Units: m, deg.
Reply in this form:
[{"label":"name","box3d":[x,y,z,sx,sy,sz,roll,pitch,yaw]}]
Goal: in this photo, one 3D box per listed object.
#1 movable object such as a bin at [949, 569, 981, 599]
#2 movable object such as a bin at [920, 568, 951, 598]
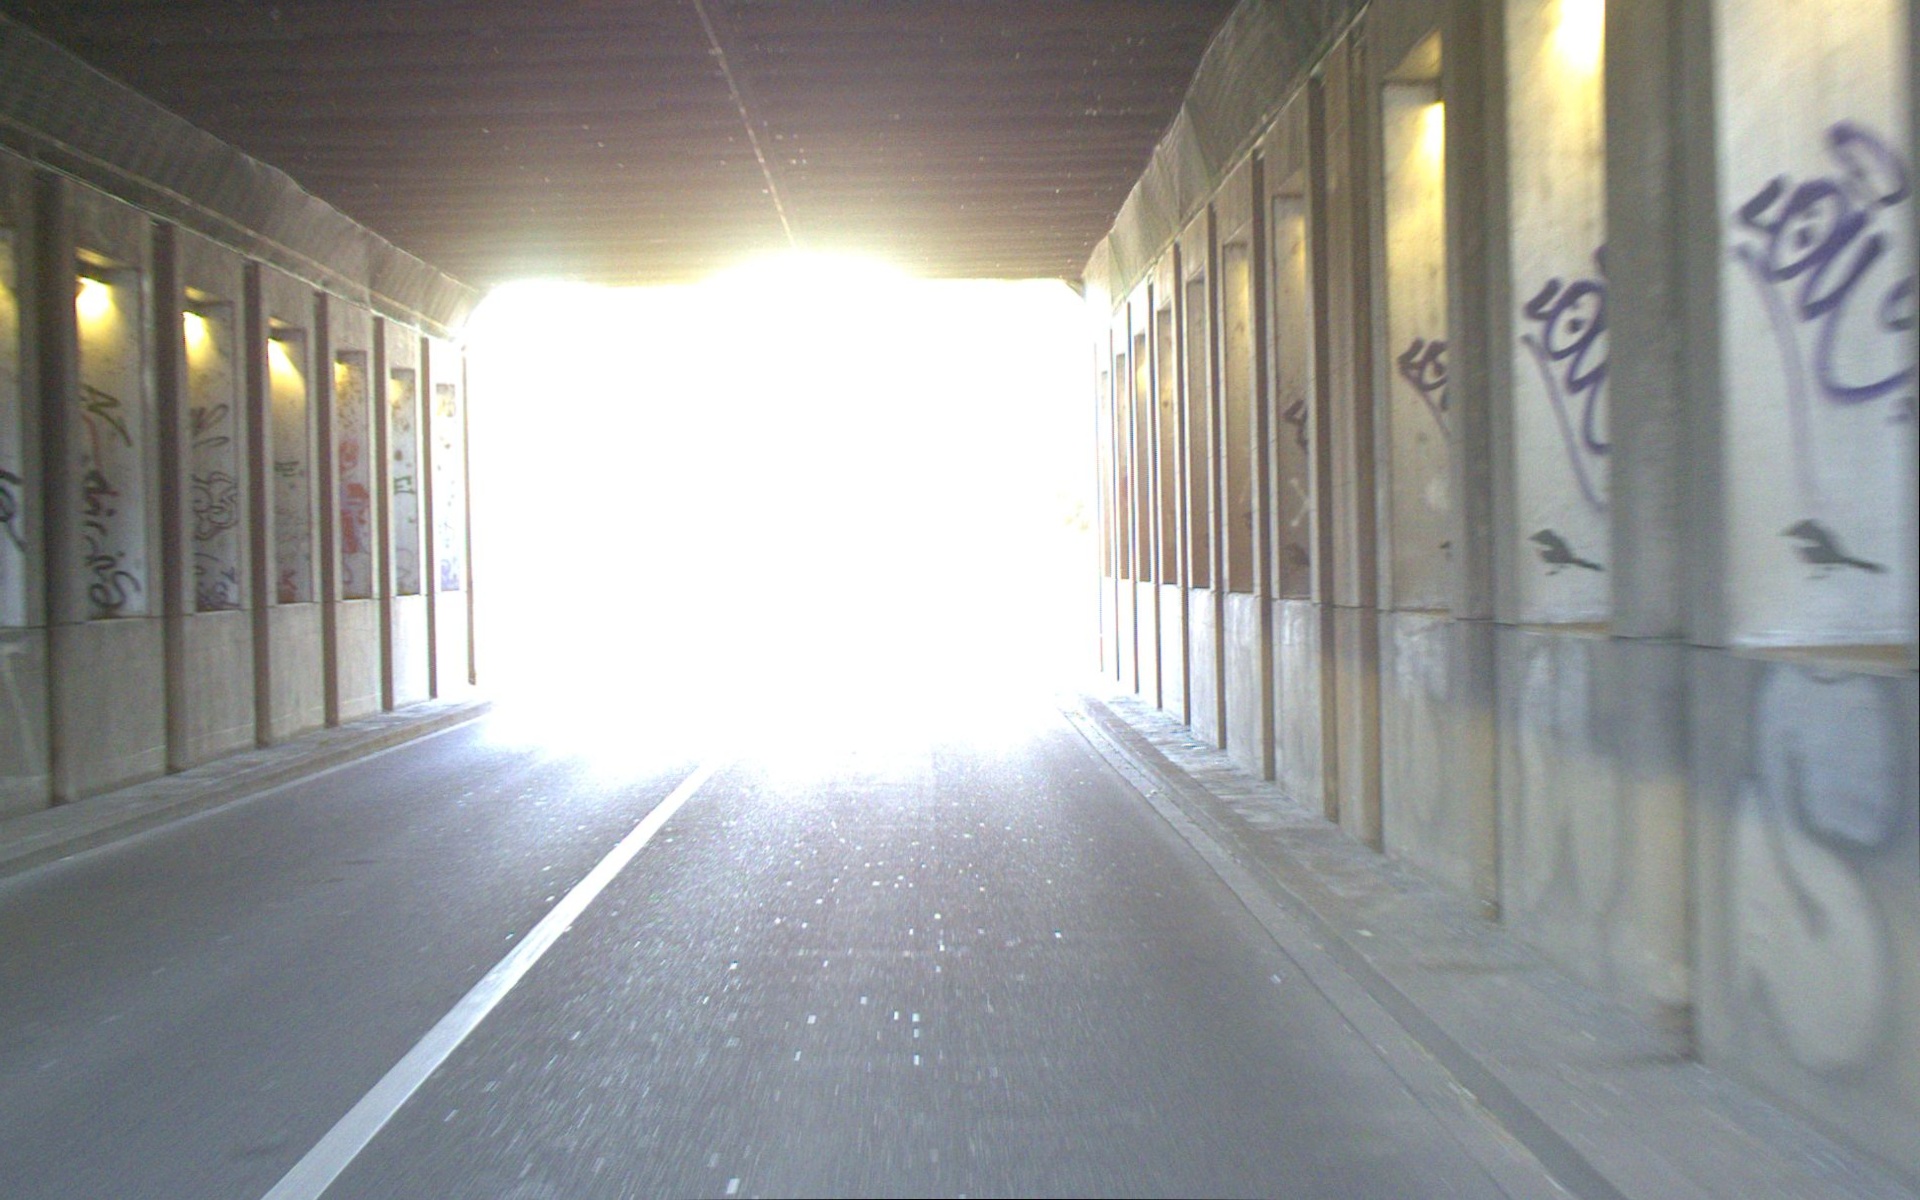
[{"label":"movable object such as a bin","box3d":[0.237,-0.762,165.310,1.364,1.413,1.066,1,0,-7]},{"label":"movable object such as a bin","box3d":[-1.175,-0.808,165.109,1.364,1.413,1.066,1,0,-7]}]
